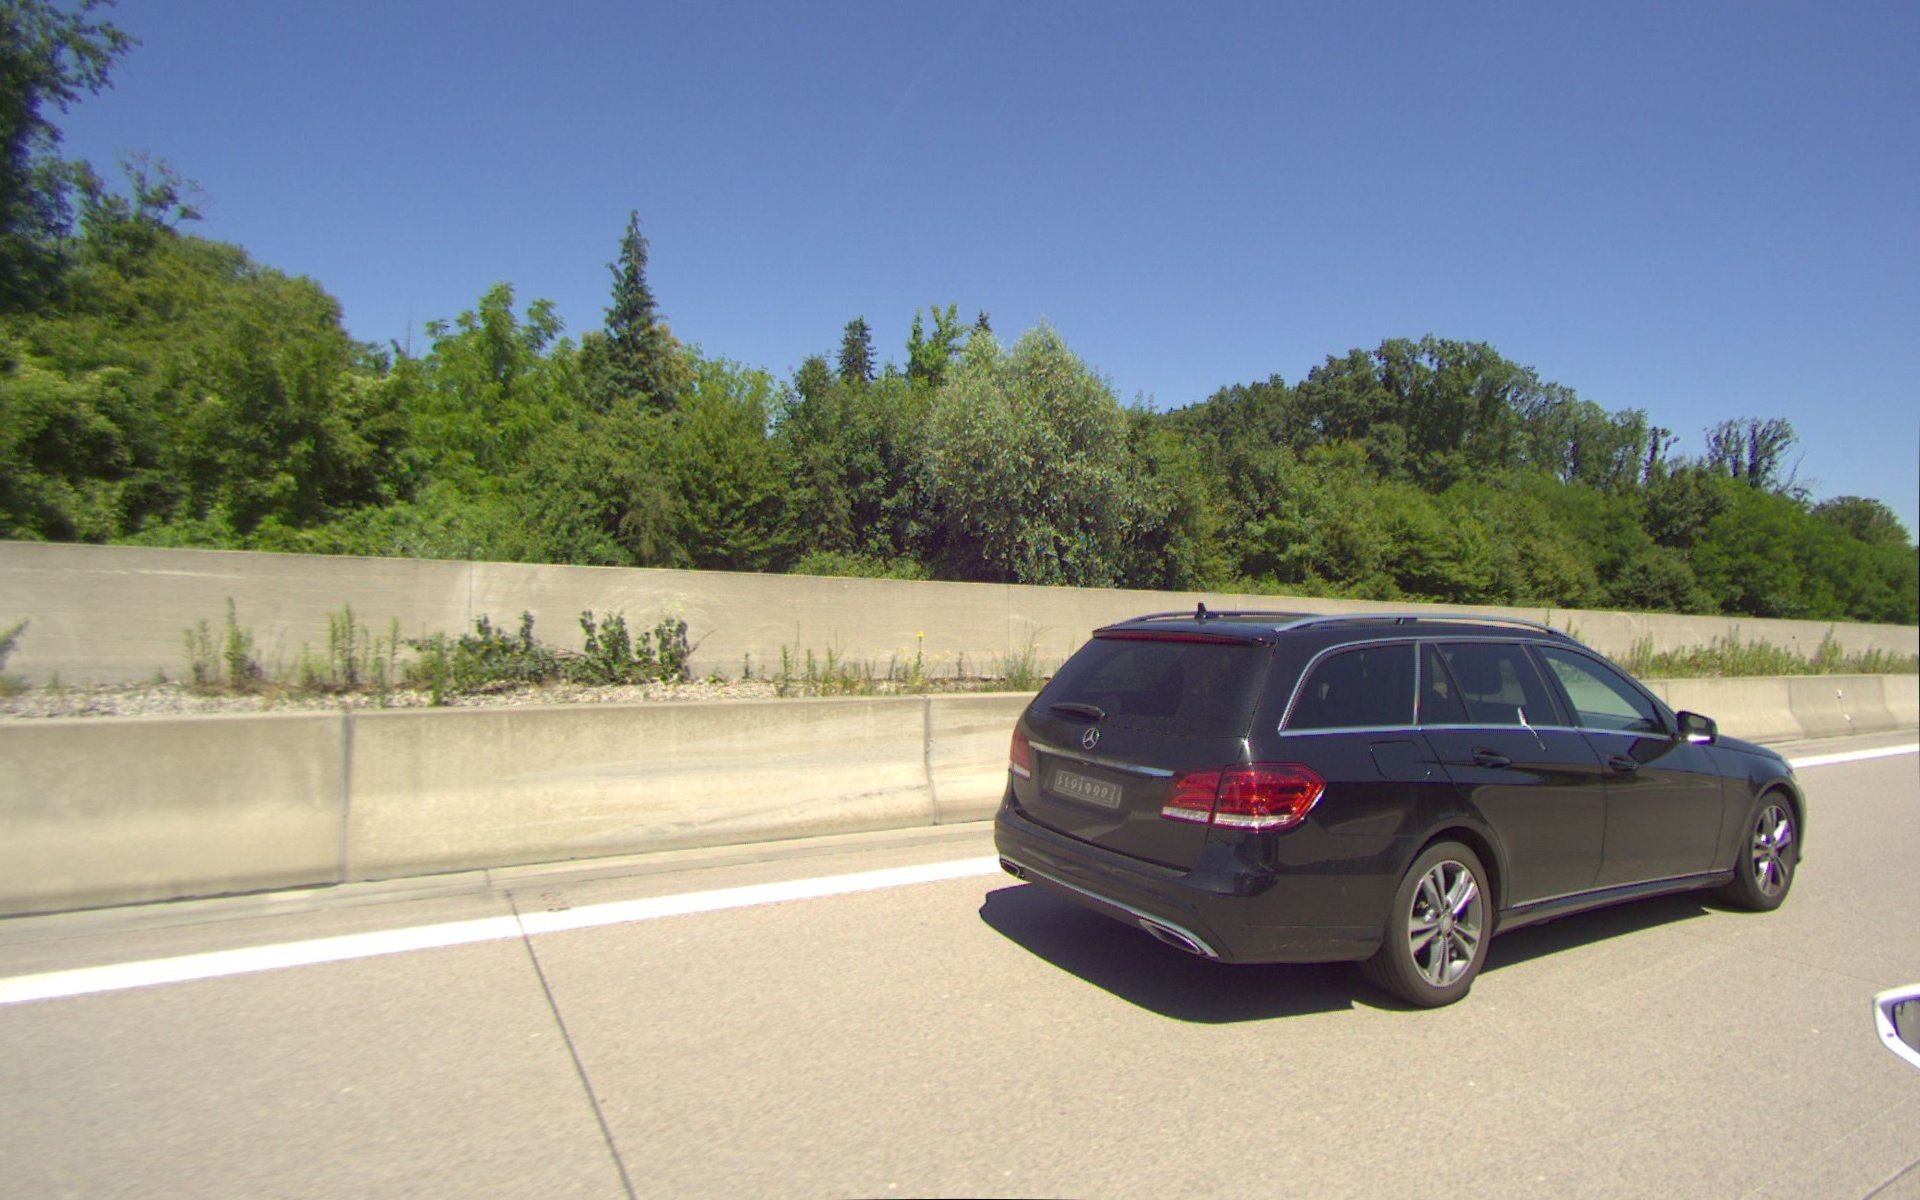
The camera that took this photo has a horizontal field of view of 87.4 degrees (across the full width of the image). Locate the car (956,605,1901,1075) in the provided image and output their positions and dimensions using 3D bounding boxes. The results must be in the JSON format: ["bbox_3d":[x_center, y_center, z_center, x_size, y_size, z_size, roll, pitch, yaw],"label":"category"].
[{"bbox_3d":[2.830,0.820,5.447,5.539,1.493,1.881,1,-1,-31],"label":"car"}]
